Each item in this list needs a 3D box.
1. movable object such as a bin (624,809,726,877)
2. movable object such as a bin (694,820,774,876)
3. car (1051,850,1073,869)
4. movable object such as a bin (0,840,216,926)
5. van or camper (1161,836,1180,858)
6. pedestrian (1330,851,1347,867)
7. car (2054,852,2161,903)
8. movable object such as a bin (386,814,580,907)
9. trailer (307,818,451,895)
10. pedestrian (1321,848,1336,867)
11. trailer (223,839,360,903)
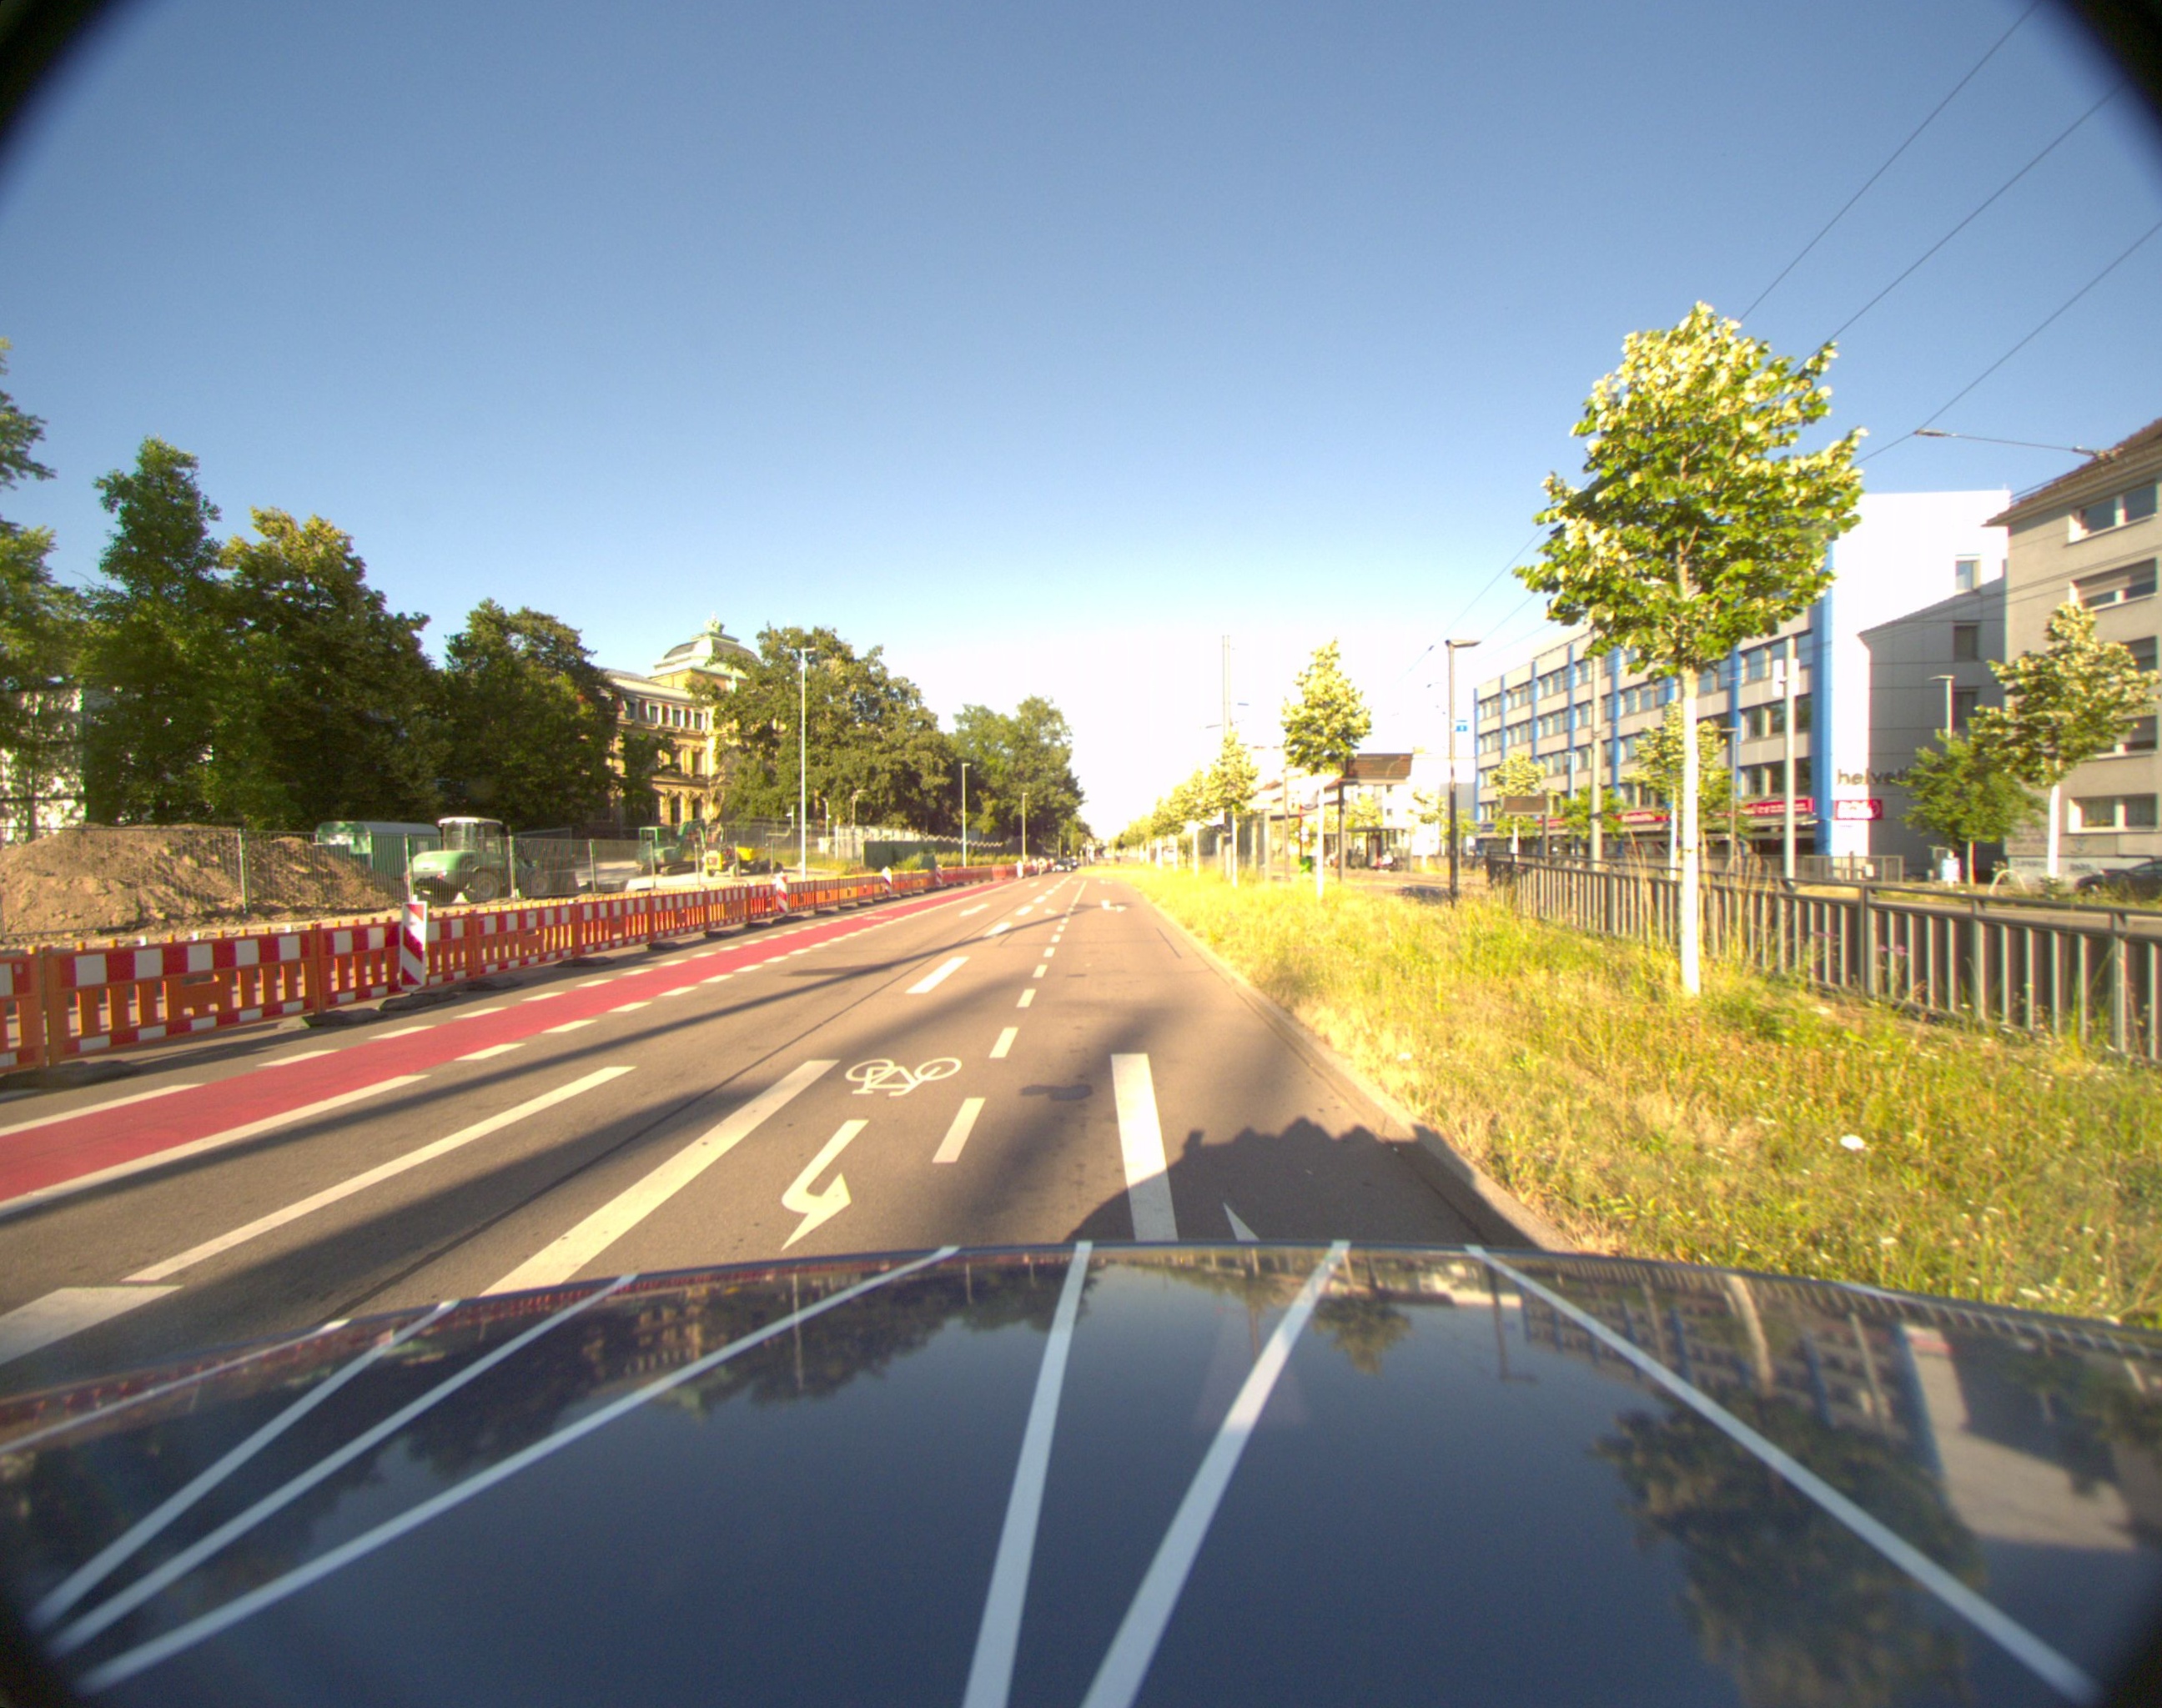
[{"bbox_3d":[-22.457,-0.566,42.341,2.280,3.537,5.501,-1,0,6],"label":"movable object such as a bin"},{"bbox_3d":[-18.688,-0.300,41.129,1.997,2.887,4.002,-1,0,8],"label":"movable object such as a bin"},{"bbox_3d":[-1.916,0.537,77.934,2.080,1.827,4.000,-1,0,1],"label":"car"},{"bbox_3d":[-30.095,0.819,22.917,5.044,2.311,2.221,0,6,-2],"label":"movable object such as a bin"},{"bbox_3d":[13.218,-0.964,112.618,2.510,3.149,7.477,-1,0,4],"label":"van or camper"},{"bbox_3d":[18.777,0.347,55.404,0.936,1.190,0.764,0,1,1],"label":"pedestrian"},{"bbox_3d":[33.275,0.704,22.984,1.998,1.499,4.431,0,0,1],"label":"car"},{"bbox_3d":[-19.003,0.189,24.545,2.281,2.688,4.942,-1,0,1],"label":"movable object such as a bin"},{"bbox_3d":[-31.496,0.012,34.326,2.616,3.075,3.981,0,6,-2],"label":"trailer"},{"bbox_3d":[18.870,0.261,57.973,0.840,1.402,0.804,0,1,1],"label":"pedestrian"},{"bbox_3d":[-31.630,0.648,30.555,2.954,2.311,2.221,0,6,-2],"label":"trailer"}]
